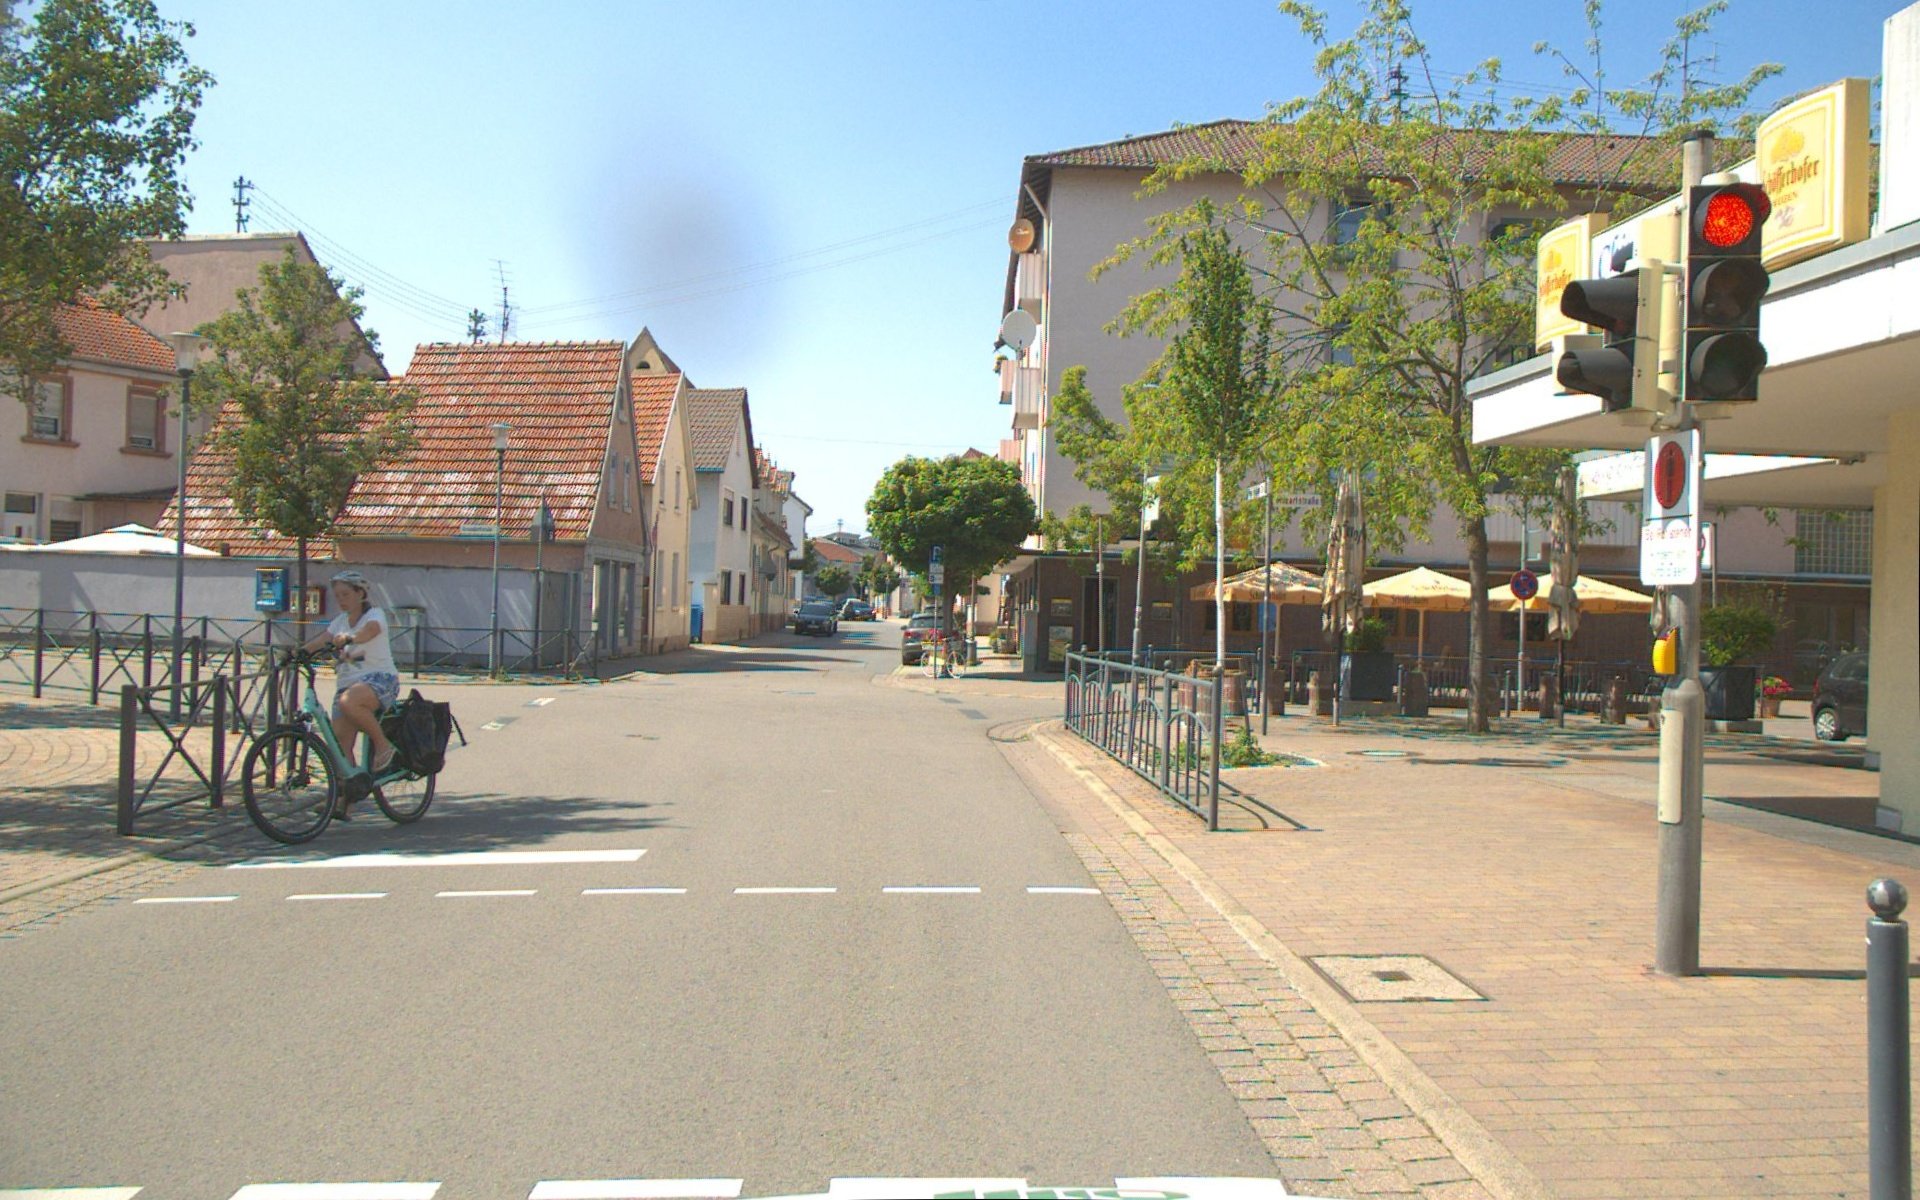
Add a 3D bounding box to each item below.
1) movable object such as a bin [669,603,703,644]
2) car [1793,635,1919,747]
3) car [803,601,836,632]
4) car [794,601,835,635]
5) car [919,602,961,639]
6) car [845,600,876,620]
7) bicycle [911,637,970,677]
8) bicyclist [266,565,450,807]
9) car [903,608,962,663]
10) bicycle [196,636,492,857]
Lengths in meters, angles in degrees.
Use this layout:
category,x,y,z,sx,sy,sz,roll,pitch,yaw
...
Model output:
category,x,y,z,sx,sy,sz,roll,pitch,yaw
movable object such as a bin,-9.367,0.810,56.601,1.078,1.389,0.390,1,-1,3
car,14.059,1.308,23.880,1.733,1.536,3.965,2,-1,-7
car,-7.168,0.831,84.608,1.630,1.502,3.447,1,0,-5
car,-6.846,0.842,78.059,1.629,1.502,4.133,1,0,-1
car,-0.981,0.995,81.014,2.001,1.718,4.840,1,0,-1
car,-7.782,0.819,128.953,1.874,1.507,4.832,1,-1,-10
bicycle,-0.457,1.321,38.529,1.386,0.913,0.463,0,0,36
bicyclist,-4.015,0.558,11.069,0.699,1.533,0.871,-3,-1,22
car,-0.746,0.991,47.150,1.543,1.479,3.486,1,-1,1
bicycle,-4.005,0.900,10.939,0.694,1.274,1.972,-1,0,21
